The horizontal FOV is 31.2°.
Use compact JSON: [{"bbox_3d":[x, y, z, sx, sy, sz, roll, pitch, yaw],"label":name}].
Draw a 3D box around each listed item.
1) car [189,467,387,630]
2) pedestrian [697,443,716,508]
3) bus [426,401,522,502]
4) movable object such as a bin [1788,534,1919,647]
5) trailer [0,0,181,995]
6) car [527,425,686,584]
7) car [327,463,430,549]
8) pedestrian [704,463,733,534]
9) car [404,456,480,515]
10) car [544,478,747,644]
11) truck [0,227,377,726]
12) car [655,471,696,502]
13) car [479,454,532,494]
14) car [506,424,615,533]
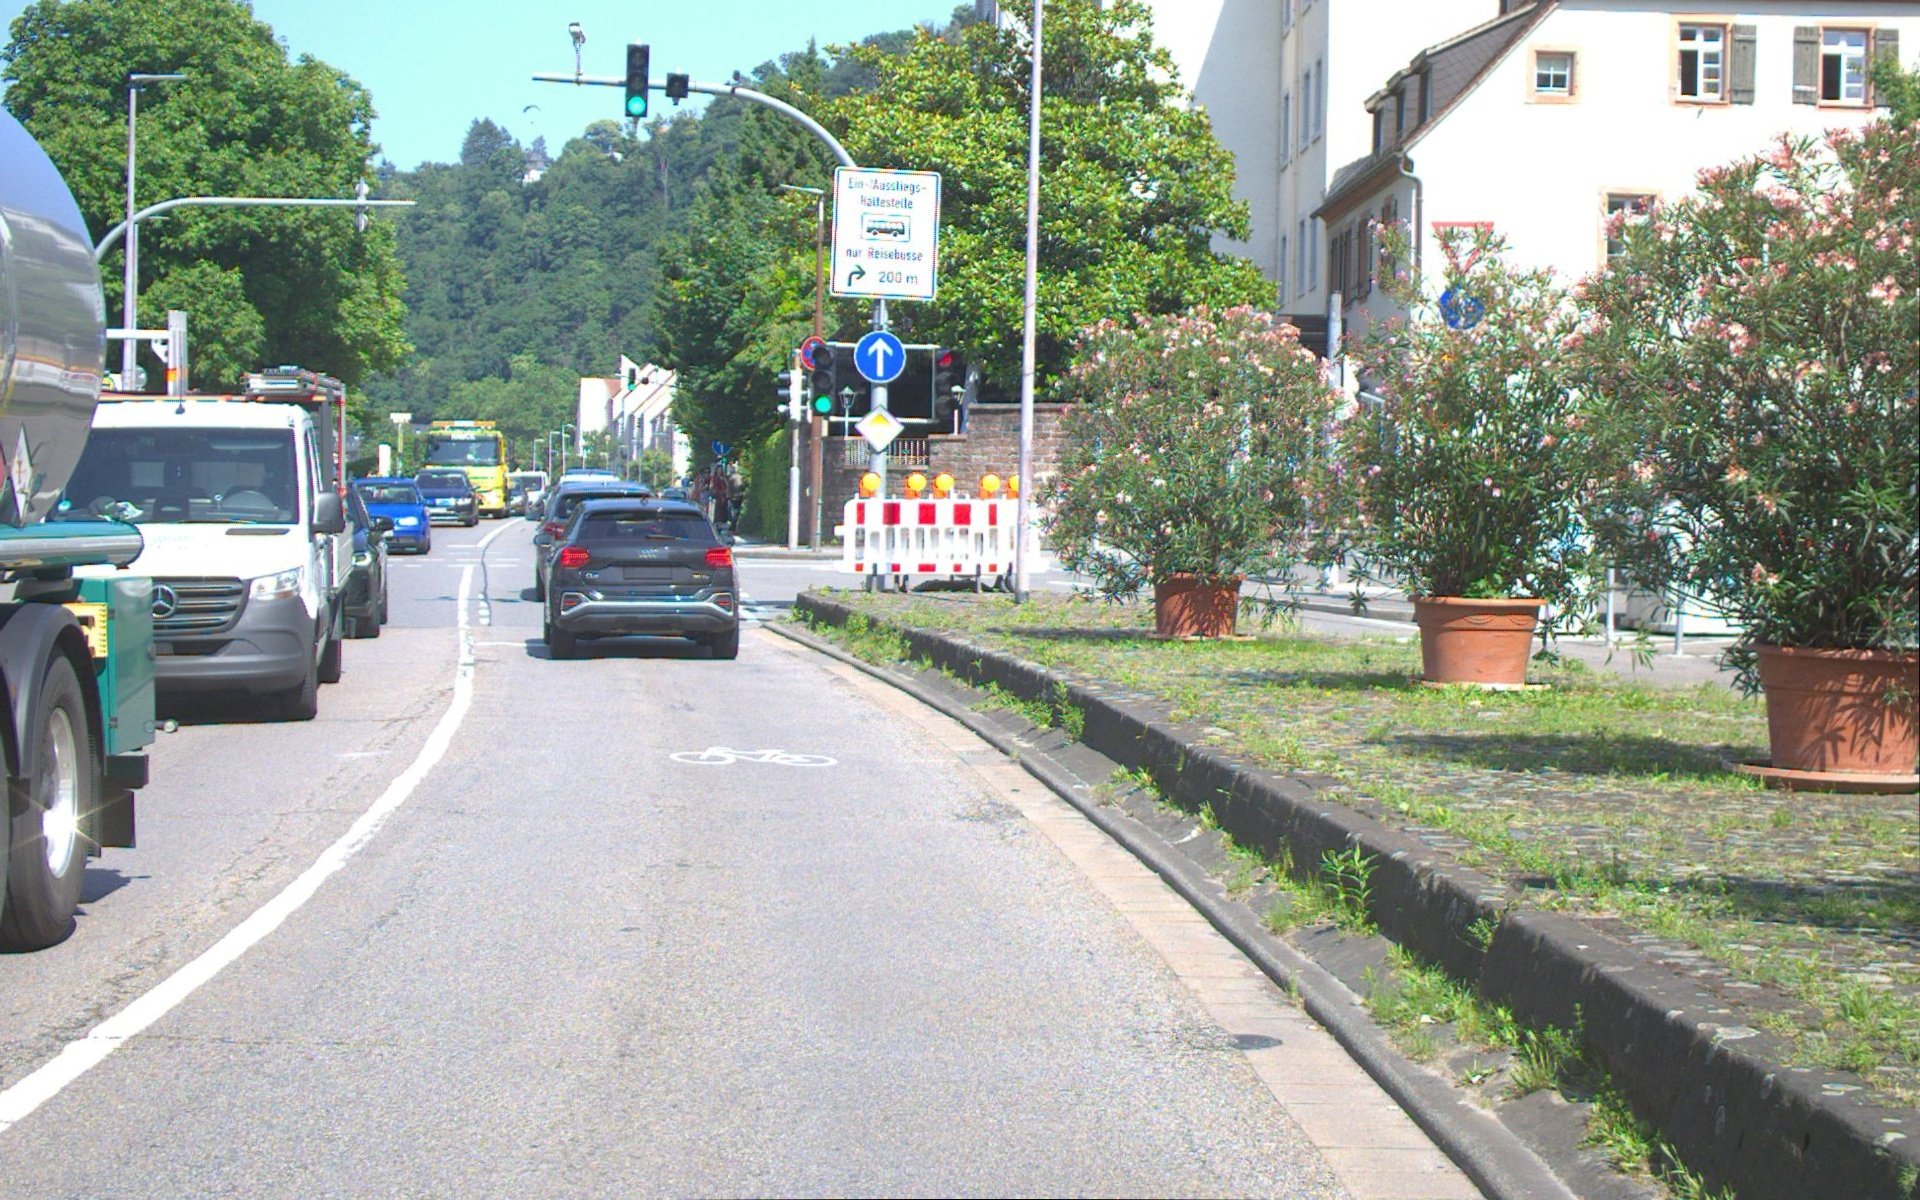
[{"bbox_3d":[-7.317,-0.619,37.762,1.862,1.675,4.455,0,2,-8],"label":"car"},{"bbox_3d":[-6.329,-3.106,85.806,0.455,1.600,0.579,0,1,-5],"label":"pedestrian"},{"bbox_3d":[-14.487,-4.446,102.839,2.596,2.886,8.450,0,3,-6],"label":"bus"},{"bbox_3d":[10.087,-0.122,36.160,2.948,1.106,1.258,-1,3,-43],"label":"movable object such as a bin"},{"bbox_3d":[-4.164,-0.487,8.034,2.523,3.631,11.533,0,2,-3],"label":"trailer"},{"bbox_3d":[-4.742,-1.225,45.668,1.993,2.007,4.001,0,0,-7],"label":"car"},{"bbox_3d":[-10.964,-1.789,64.639,1.808,1.502,4.002,1,3,-11],"label":"car"},{"bbox_3d":[-5.921,-2.488,84.186,0.680,1.736,0.913,0,1,-6],"label":"pedestrian"},{"bbox_3d":[-12.873,-2.865,85.536,1.808,1.401,4.358,0,3,-8],"label":"car"},{"bbox_3d":[-3.117,-0.376,33.598,1.856,1.518,4.001,0,0,-6],"label":"car"},{"bbox_3d":[-5.940,-0.969,26.603,2.376,3.250,7.613,-2,2,-7],"label":"truck"},{"bbox_3d":[-14.006,-5.580,169.112,1.993,1.448,4.009,0,0,-5],"label":"car"},{"bbox_3d":[-16.982,-4.729,128.591,1.815,1.393,4.348,0,3,-6],"label":"car"},{"bbox_3d":[-8.124,-2.443,69.796,1.993,2.007,4.001,4,1,-7],"label":"car"}]
